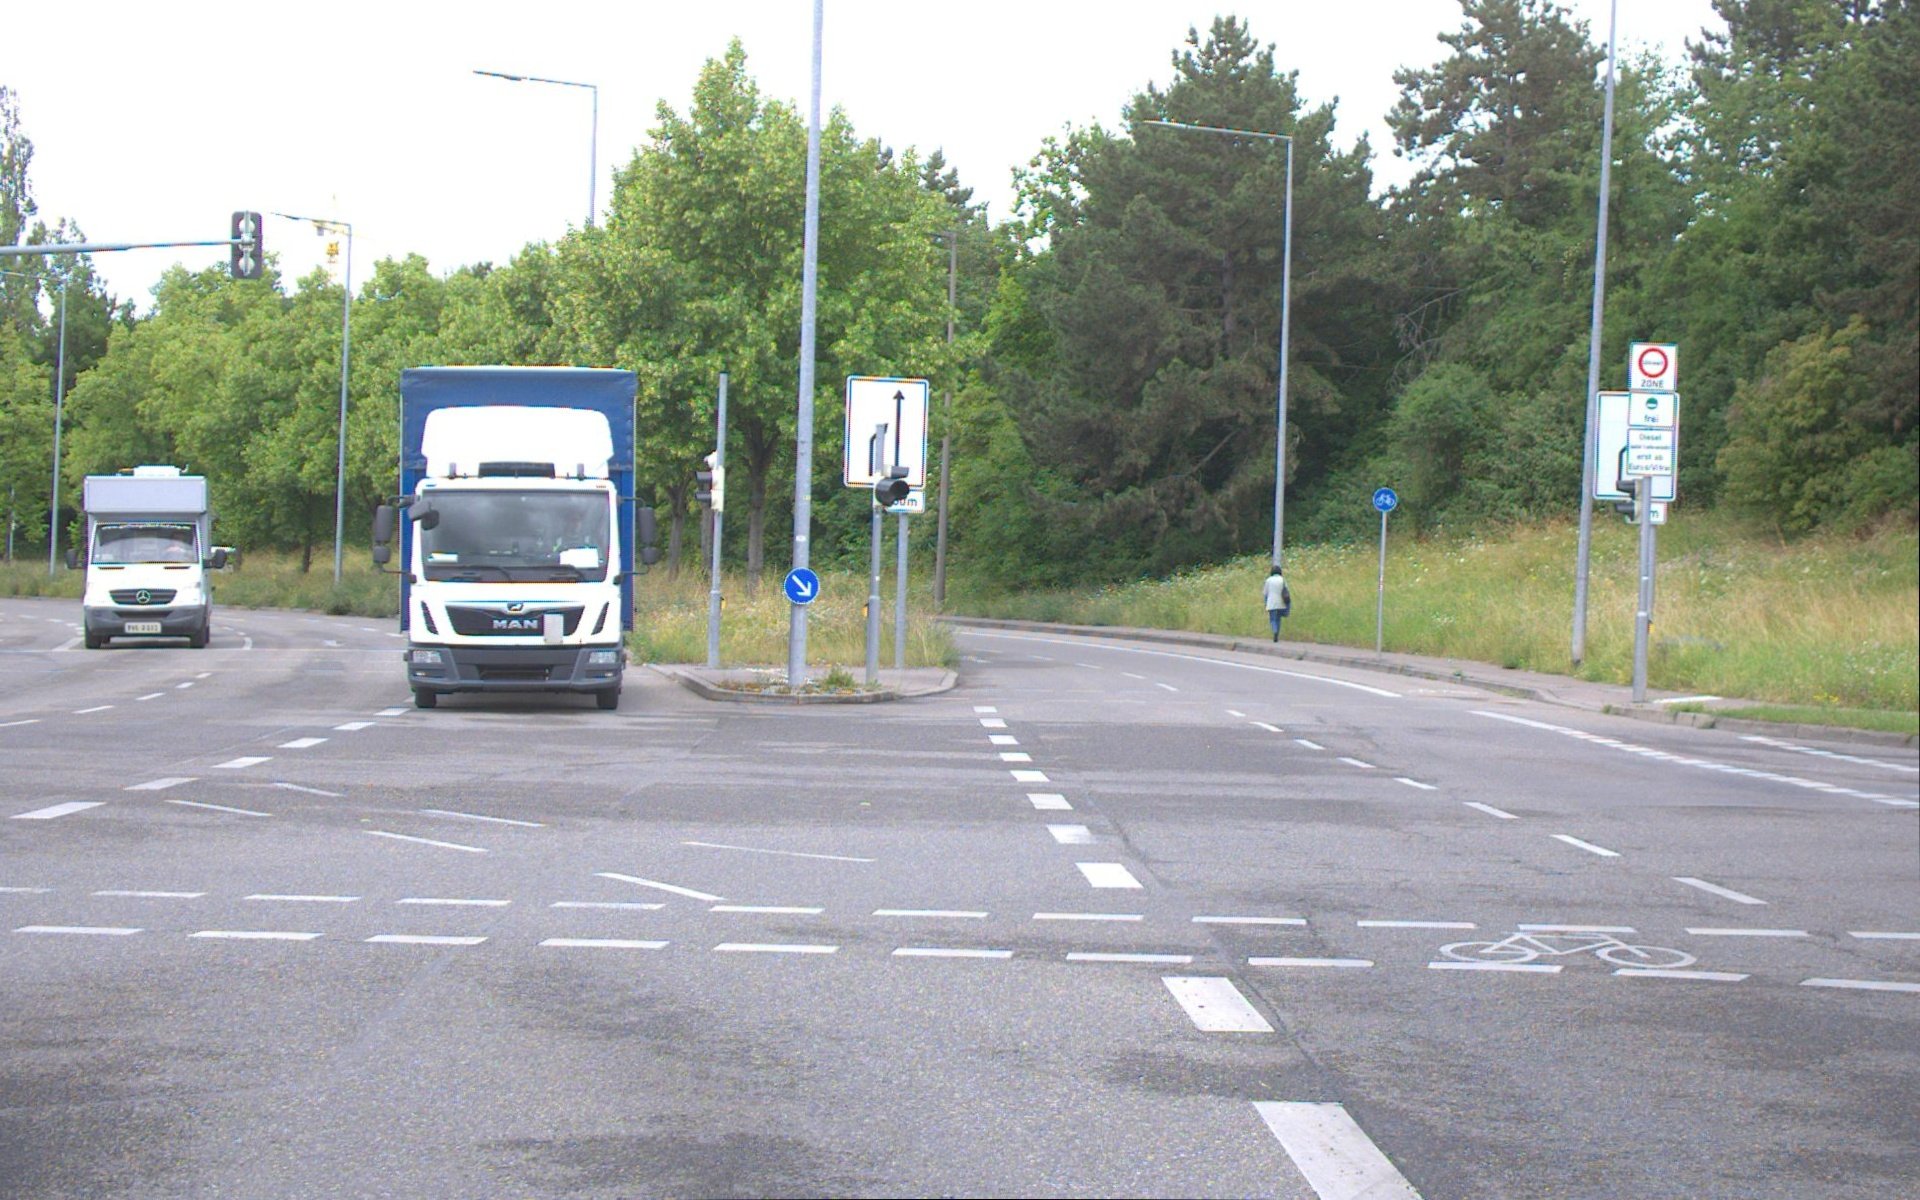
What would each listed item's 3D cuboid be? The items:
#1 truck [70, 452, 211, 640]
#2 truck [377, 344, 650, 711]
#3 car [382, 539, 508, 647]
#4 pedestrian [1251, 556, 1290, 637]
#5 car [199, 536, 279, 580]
[{"bbox_3d":[-14.101,-0.924,59.430,2.104,3.000,6.275,-3,1,-12],"label":"truck"},{"bbox_3d":[-5.221,-0.804,40.133,2.778,3.791,8.391,1,1,-8],"label":"truck"},{"bbox_3d":[-10.057,-0.173,66.872,1.993,2.007,4.610,1,1,-14],"label":"car"},{"bbox_3d":[6.611,-0.073,73.202,0.739,1.711,0.625,1,1,-1],"label":"pedestrian"},{"bbox_3d":[-29.355,-1.698,139.902,1.993,1.722,3.727,1,1,-33],"label":"car"}]
